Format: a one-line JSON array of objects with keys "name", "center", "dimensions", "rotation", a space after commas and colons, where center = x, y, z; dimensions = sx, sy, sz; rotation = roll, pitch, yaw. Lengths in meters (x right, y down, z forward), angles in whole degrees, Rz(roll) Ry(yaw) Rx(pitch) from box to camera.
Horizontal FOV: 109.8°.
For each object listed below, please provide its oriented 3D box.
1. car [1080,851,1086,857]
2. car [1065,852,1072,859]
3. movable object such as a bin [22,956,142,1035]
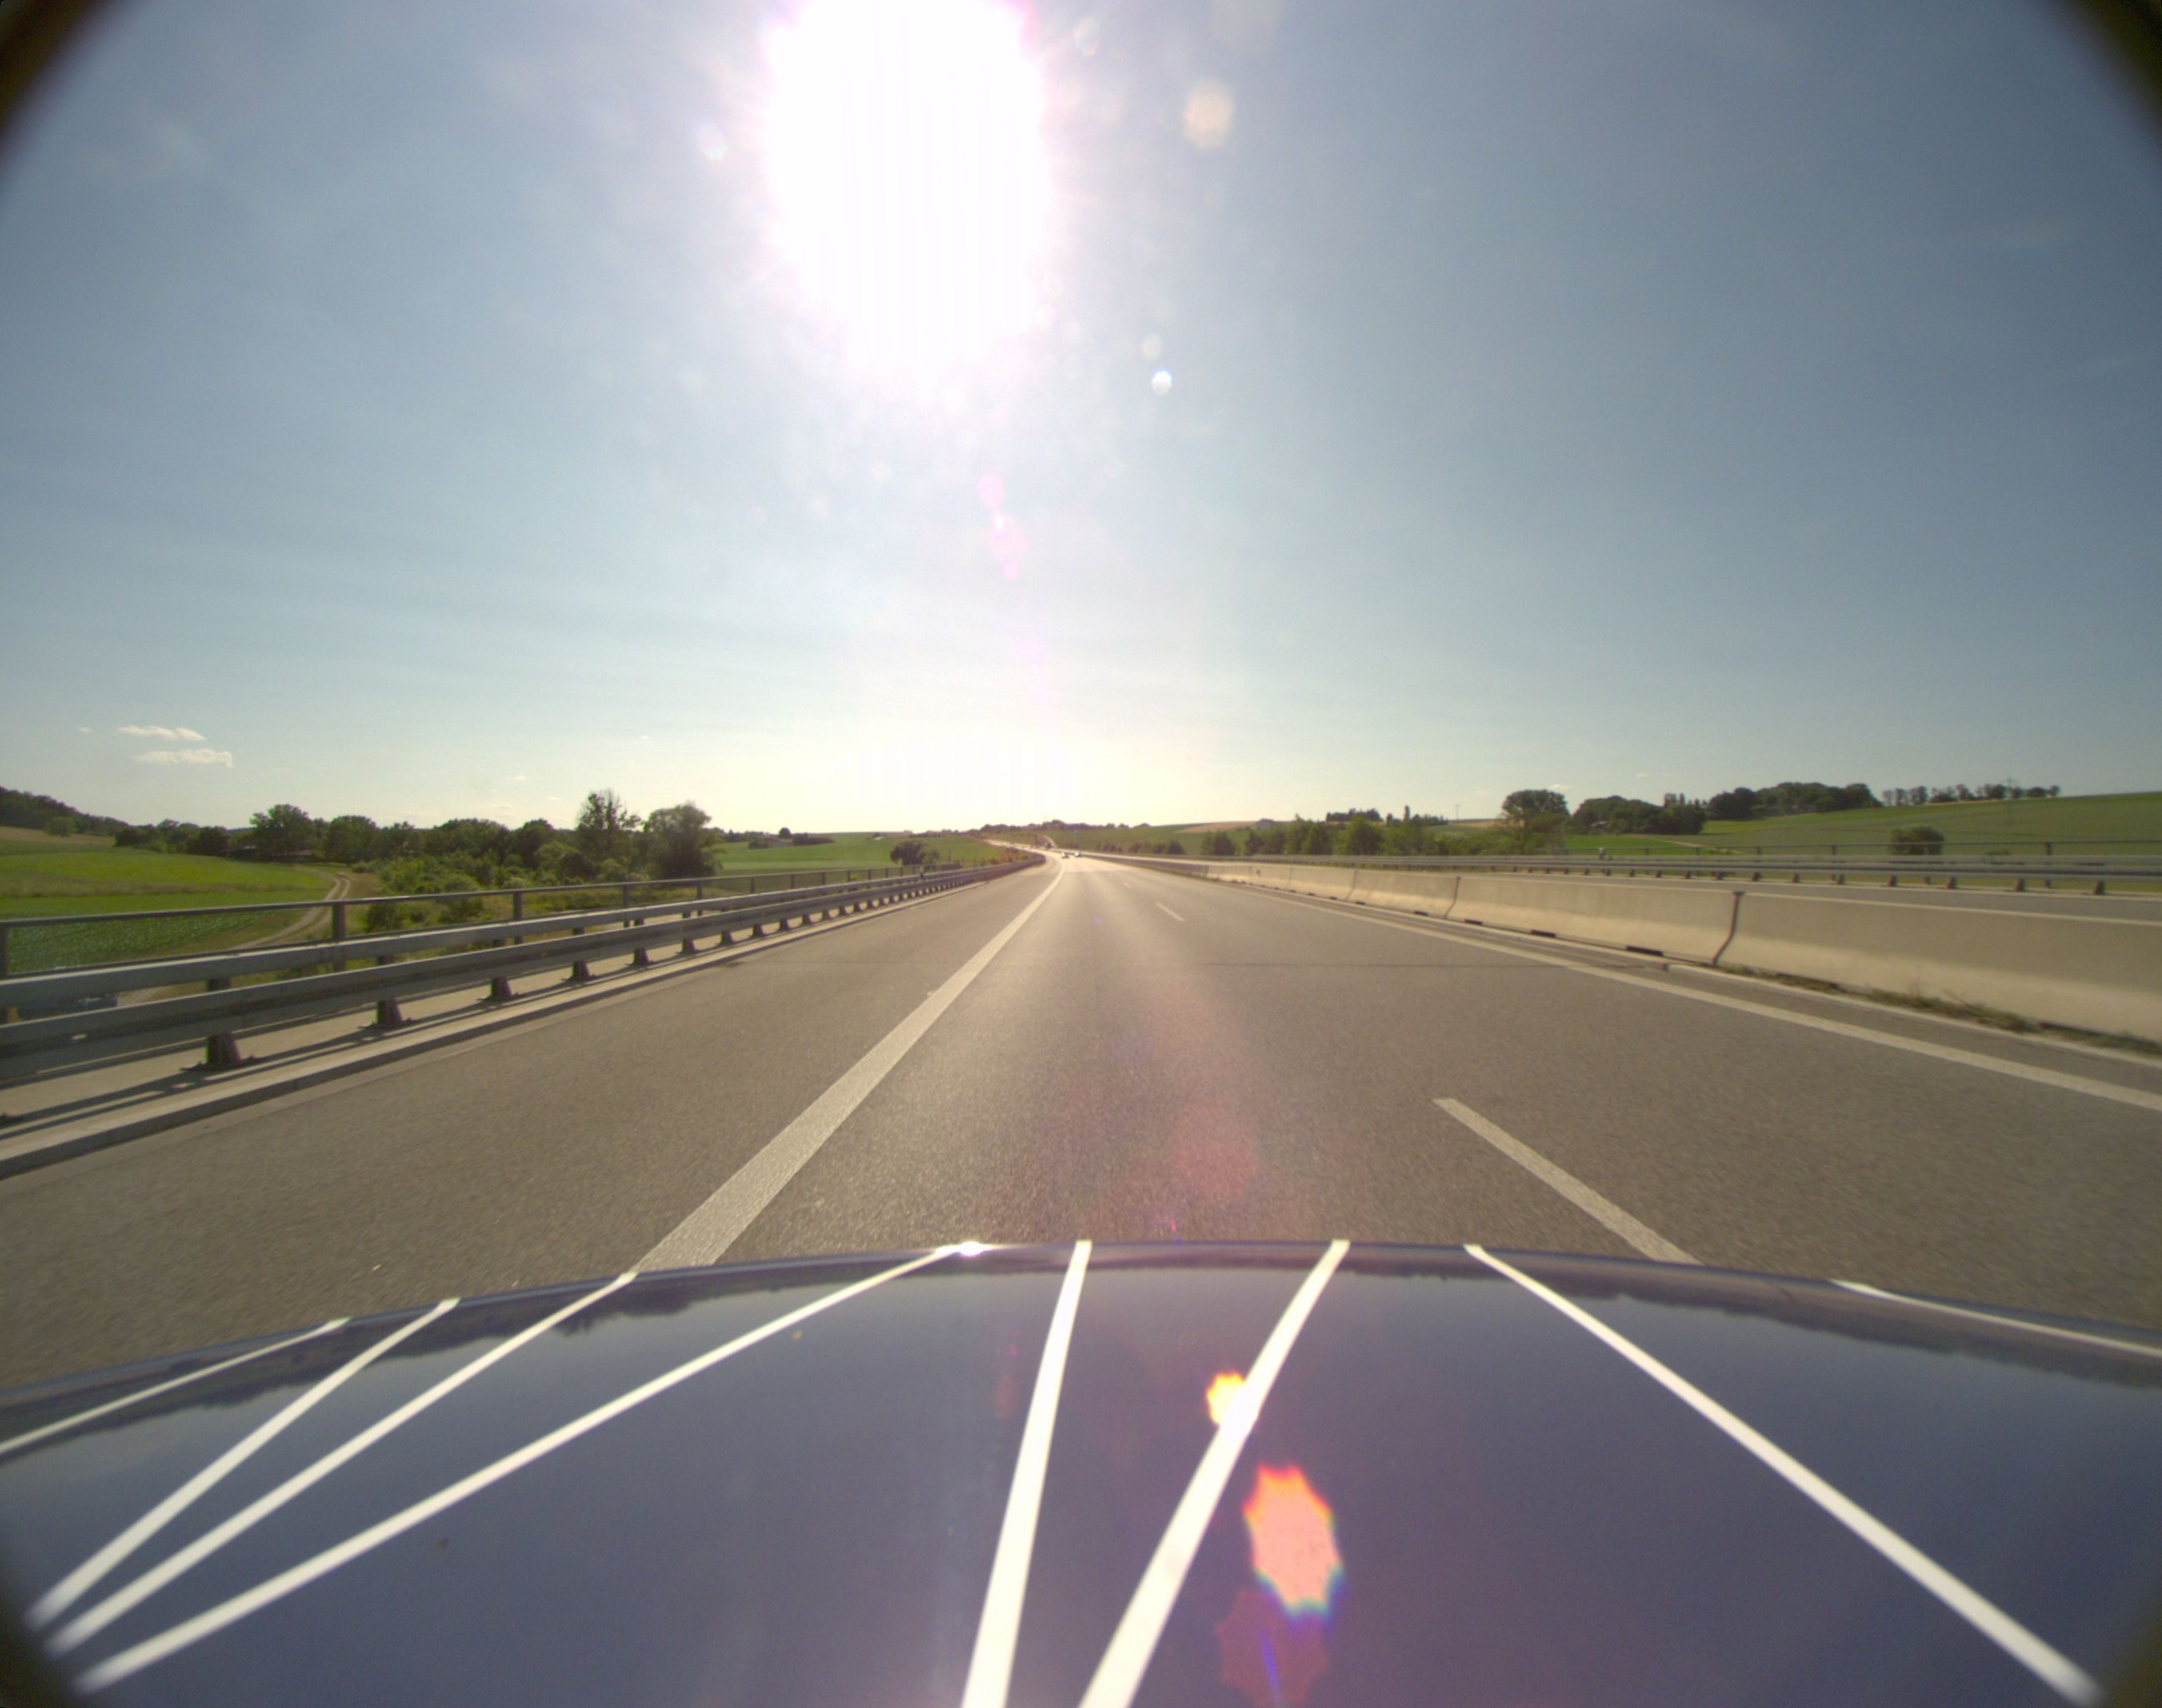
[{"name": "car", "center": [0.533, 0.027, 206.032], "dimensions": [1.715, 1.580, 4.625], "rotation": [-3, 2, -1]}, {"name": "car", "center": [-3.282, 0.315, 196.180], "dimensions": [1.715, 1.580, 4.625], "rotation": [-3, 2, -3]}, {"name": "movable object such as a bin", "center": [-50.540, 7.045, 38.630], "dimensions": [6.214, 2.755, 3.292], "rotation": [-1, 2, 40]}]
